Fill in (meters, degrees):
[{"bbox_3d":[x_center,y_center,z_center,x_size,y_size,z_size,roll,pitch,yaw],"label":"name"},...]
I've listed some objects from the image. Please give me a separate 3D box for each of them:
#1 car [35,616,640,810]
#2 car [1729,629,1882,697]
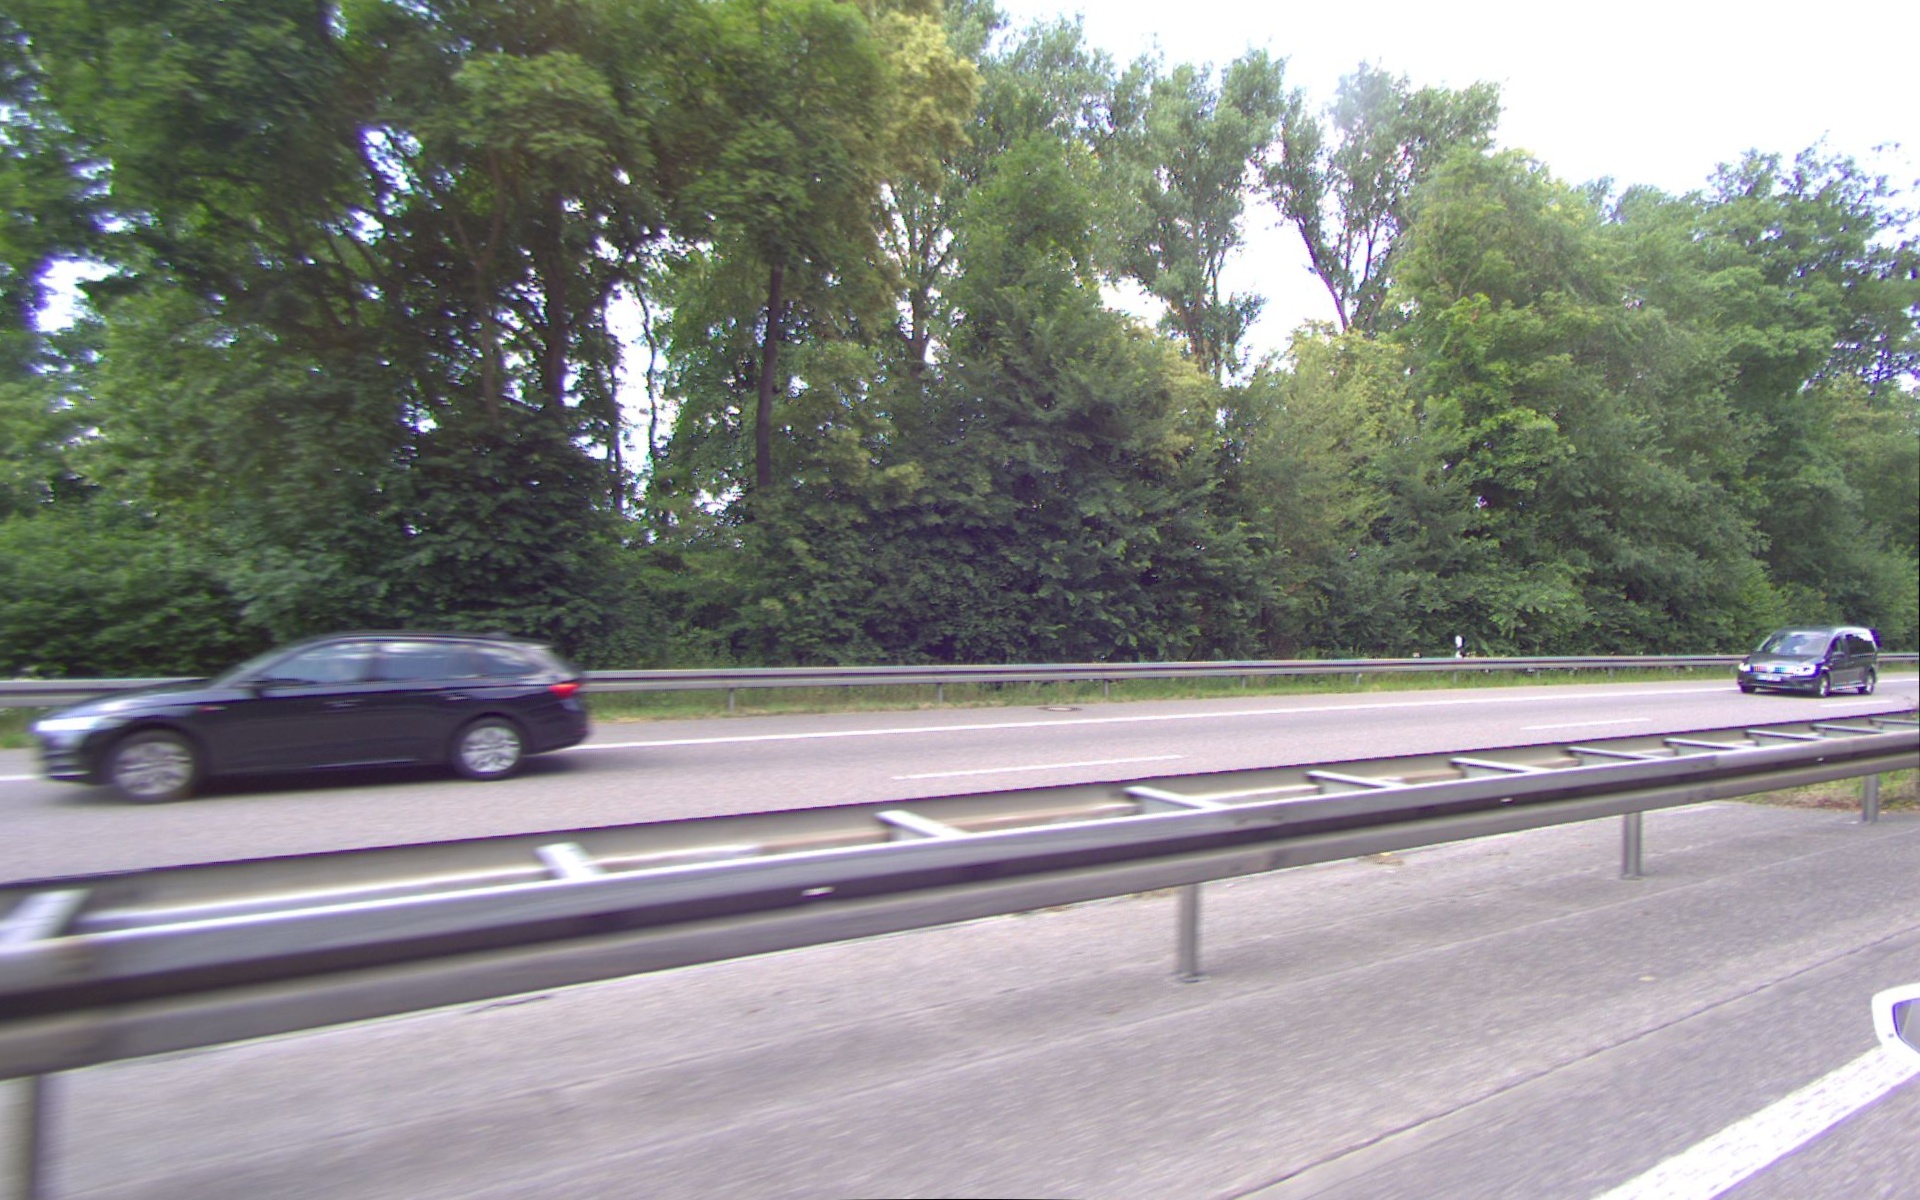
[{"bbox_3d":[-5.894,0.982,10.157,4.803,1.540,1.671,1,0,-31],"label":"car"},{"bbox_3d":[22.718,1.632,26.937,4.580,1.614,1.751,1,0,-31],"label":"car"}]
